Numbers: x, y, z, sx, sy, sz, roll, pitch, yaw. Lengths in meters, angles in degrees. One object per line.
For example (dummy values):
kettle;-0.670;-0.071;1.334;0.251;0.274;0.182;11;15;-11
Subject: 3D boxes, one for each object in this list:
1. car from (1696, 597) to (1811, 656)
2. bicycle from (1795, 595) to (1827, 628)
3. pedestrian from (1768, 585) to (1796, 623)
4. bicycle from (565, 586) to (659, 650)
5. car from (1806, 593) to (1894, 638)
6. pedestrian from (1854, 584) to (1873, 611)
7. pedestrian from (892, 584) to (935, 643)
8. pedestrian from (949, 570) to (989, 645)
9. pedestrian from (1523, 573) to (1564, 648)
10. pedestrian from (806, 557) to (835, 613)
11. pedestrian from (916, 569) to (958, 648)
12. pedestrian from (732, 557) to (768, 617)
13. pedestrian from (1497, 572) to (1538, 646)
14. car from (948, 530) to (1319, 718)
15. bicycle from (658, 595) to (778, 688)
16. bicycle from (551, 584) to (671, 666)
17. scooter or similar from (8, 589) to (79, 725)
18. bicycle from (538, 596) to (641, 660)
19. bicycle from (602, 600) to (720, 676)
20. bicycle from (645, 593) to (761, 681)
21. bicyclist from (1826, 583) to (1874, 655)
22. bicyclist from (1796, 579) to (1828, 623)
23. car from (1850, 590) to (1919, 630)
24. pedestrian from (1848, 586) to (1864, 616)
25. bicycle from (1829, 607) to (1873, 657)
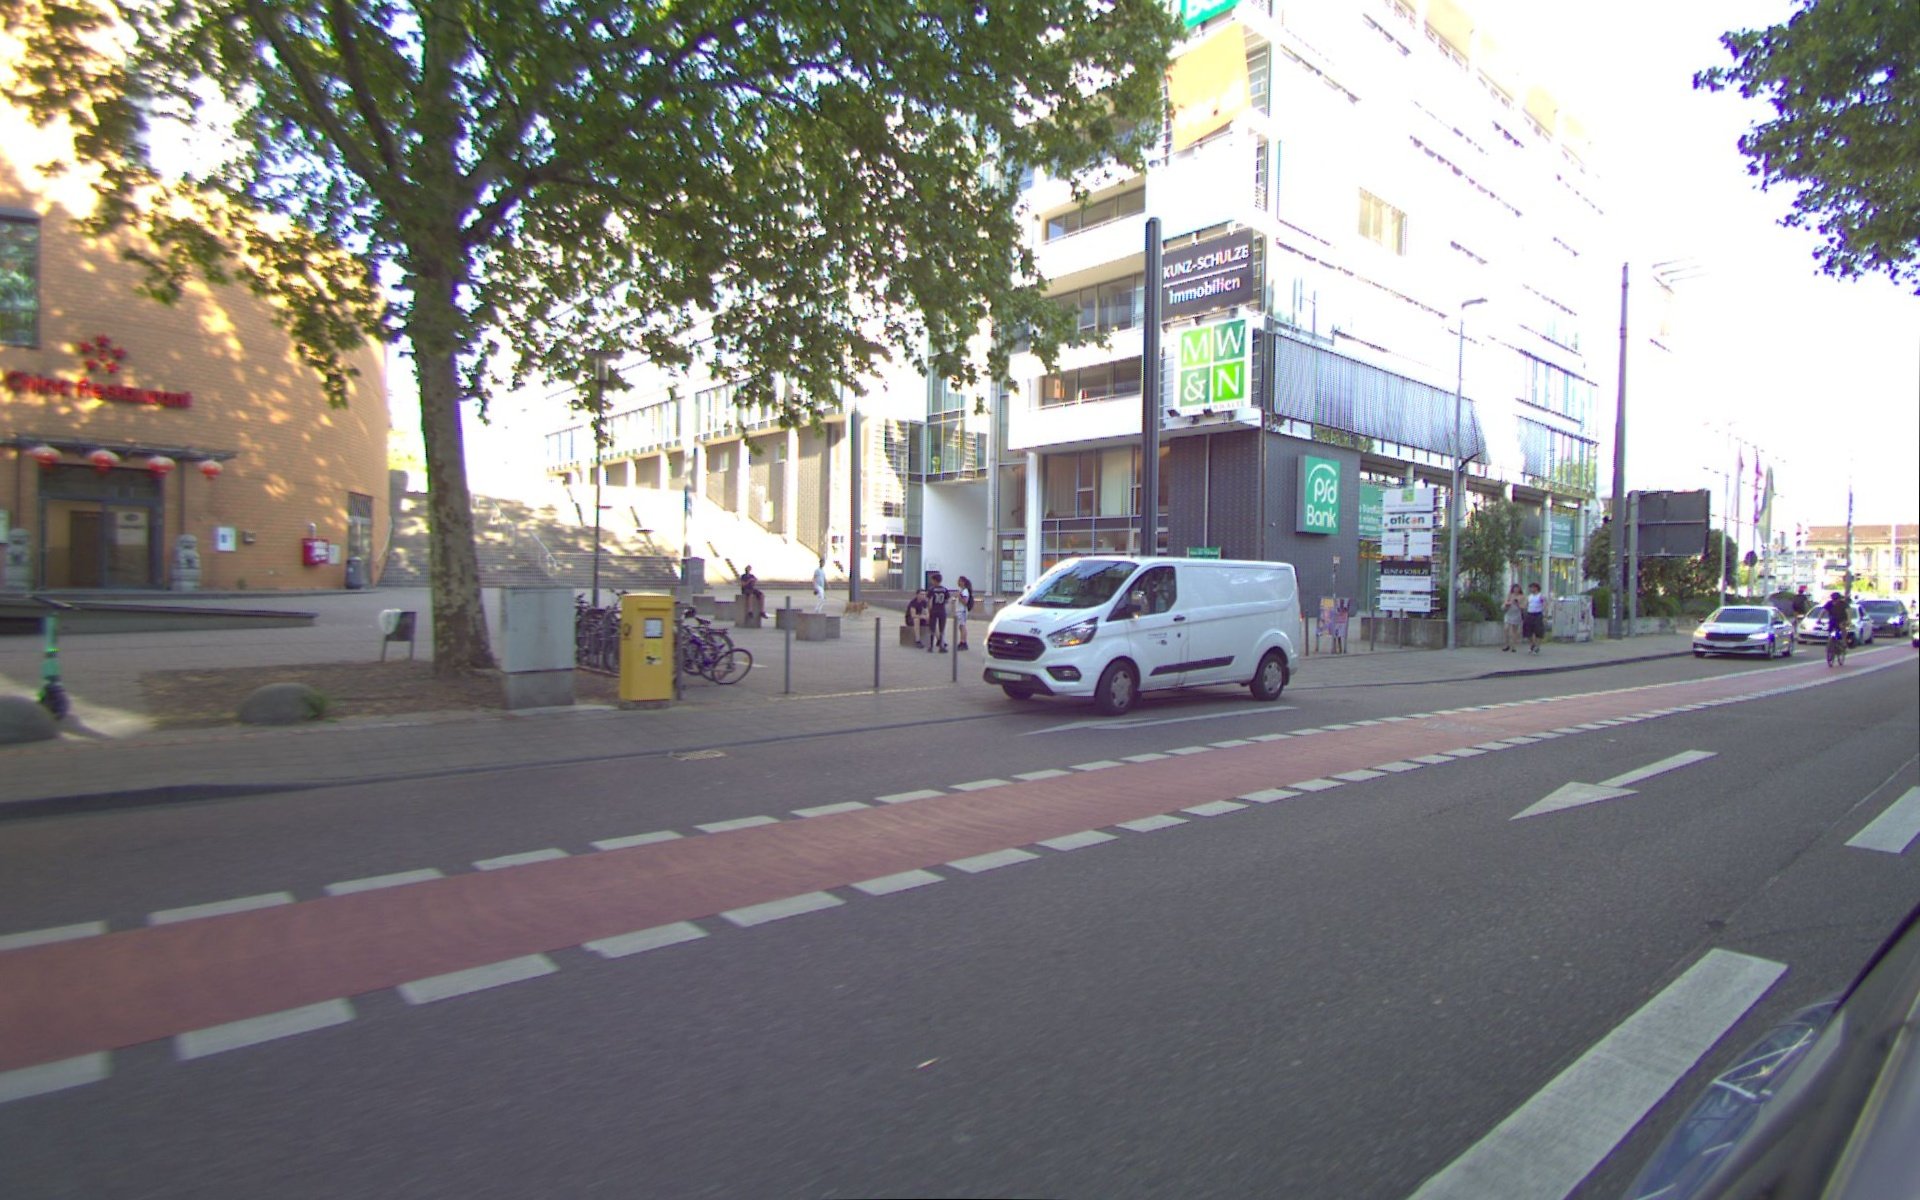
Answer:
car;22.068;0.680;28.107;3.952;1.437;1.784;0;2;-41
bicycle;36.014;0.477;42.817;1.894;1.291;0.665;0;4;-41
pedestrian;35.570;0.167;43.778;0.895;1.594;0.753;0;1;-38
bicycle;-6.120;0.301;17.820;1.481;1.091;0.460;0;1;-33
car;32.022;0.529;36.388;3.798;1.482;1.672;0;2;-38
pedestrian;55.114;-0.179;61.728;0.652;1.601;0.693;0;3;-39
pedestrian;-1.007;0.284;21.832;0.665;1.236;0.615;0;1;-37
pedestrian;0.187;0.149;21.136;0.623;1.541;0.517;1;1;-34
pedestrian;14.625;0.251;25.363;0.876;1.831;0.564;0;2;-41
pedestrian;-4.309;-0.474;31.286;0.710;1.697;0.539;0;1;-41
pedestrian;-0.467;0.157;20.547;0.625;1.562;0.578;1;1;-34
pedestrian;-5.302;-0.335;25.536;0.590;1.474;0.712;0;1;-41
pedestrian;14.249;0.219;25.871;0.880;1.831;0.591;0;2;-41
car;2.545;0.236;14.044;5.193;2.160;2.129;0;2;-38
bicycle;-3.270;0.532;13.741;1.513;1.173;0.513;0;1;-42
bicycle;-5.360;0.363;15.596;1.689;1.193;0.459;0;2;-42
scooter or similar;-9.021;0.522;9.985;0.404;1.239;1.211;0;1;-37
bicycle;-5.915;0.423;16.194;1.484;0.971;0.459;0;2;-42
bicycle;-4.340;0.525;14.742;1.599;1.042;0.459;0;1;-42
bicycle;-3.622;0.498;14.326;1.513;1.173;0.513;0;1;-42
bicyclist;21.773;0.443;24.765;0.702;1.709;0.751;0;1;-41
bicyclist;35.997;0.045;42.762;1.188;1.783;0.743;0;4;-40
car;39.891;0.389;43.465;3.930;1.616;1.997;0;1;-41
pedestrian;49.629;0.052;56.058;0.579;1.601;0.527;0;3;-40
bicycle;21.831;0.754;24.775;2.090;1.135;0.550;0;2;-42
